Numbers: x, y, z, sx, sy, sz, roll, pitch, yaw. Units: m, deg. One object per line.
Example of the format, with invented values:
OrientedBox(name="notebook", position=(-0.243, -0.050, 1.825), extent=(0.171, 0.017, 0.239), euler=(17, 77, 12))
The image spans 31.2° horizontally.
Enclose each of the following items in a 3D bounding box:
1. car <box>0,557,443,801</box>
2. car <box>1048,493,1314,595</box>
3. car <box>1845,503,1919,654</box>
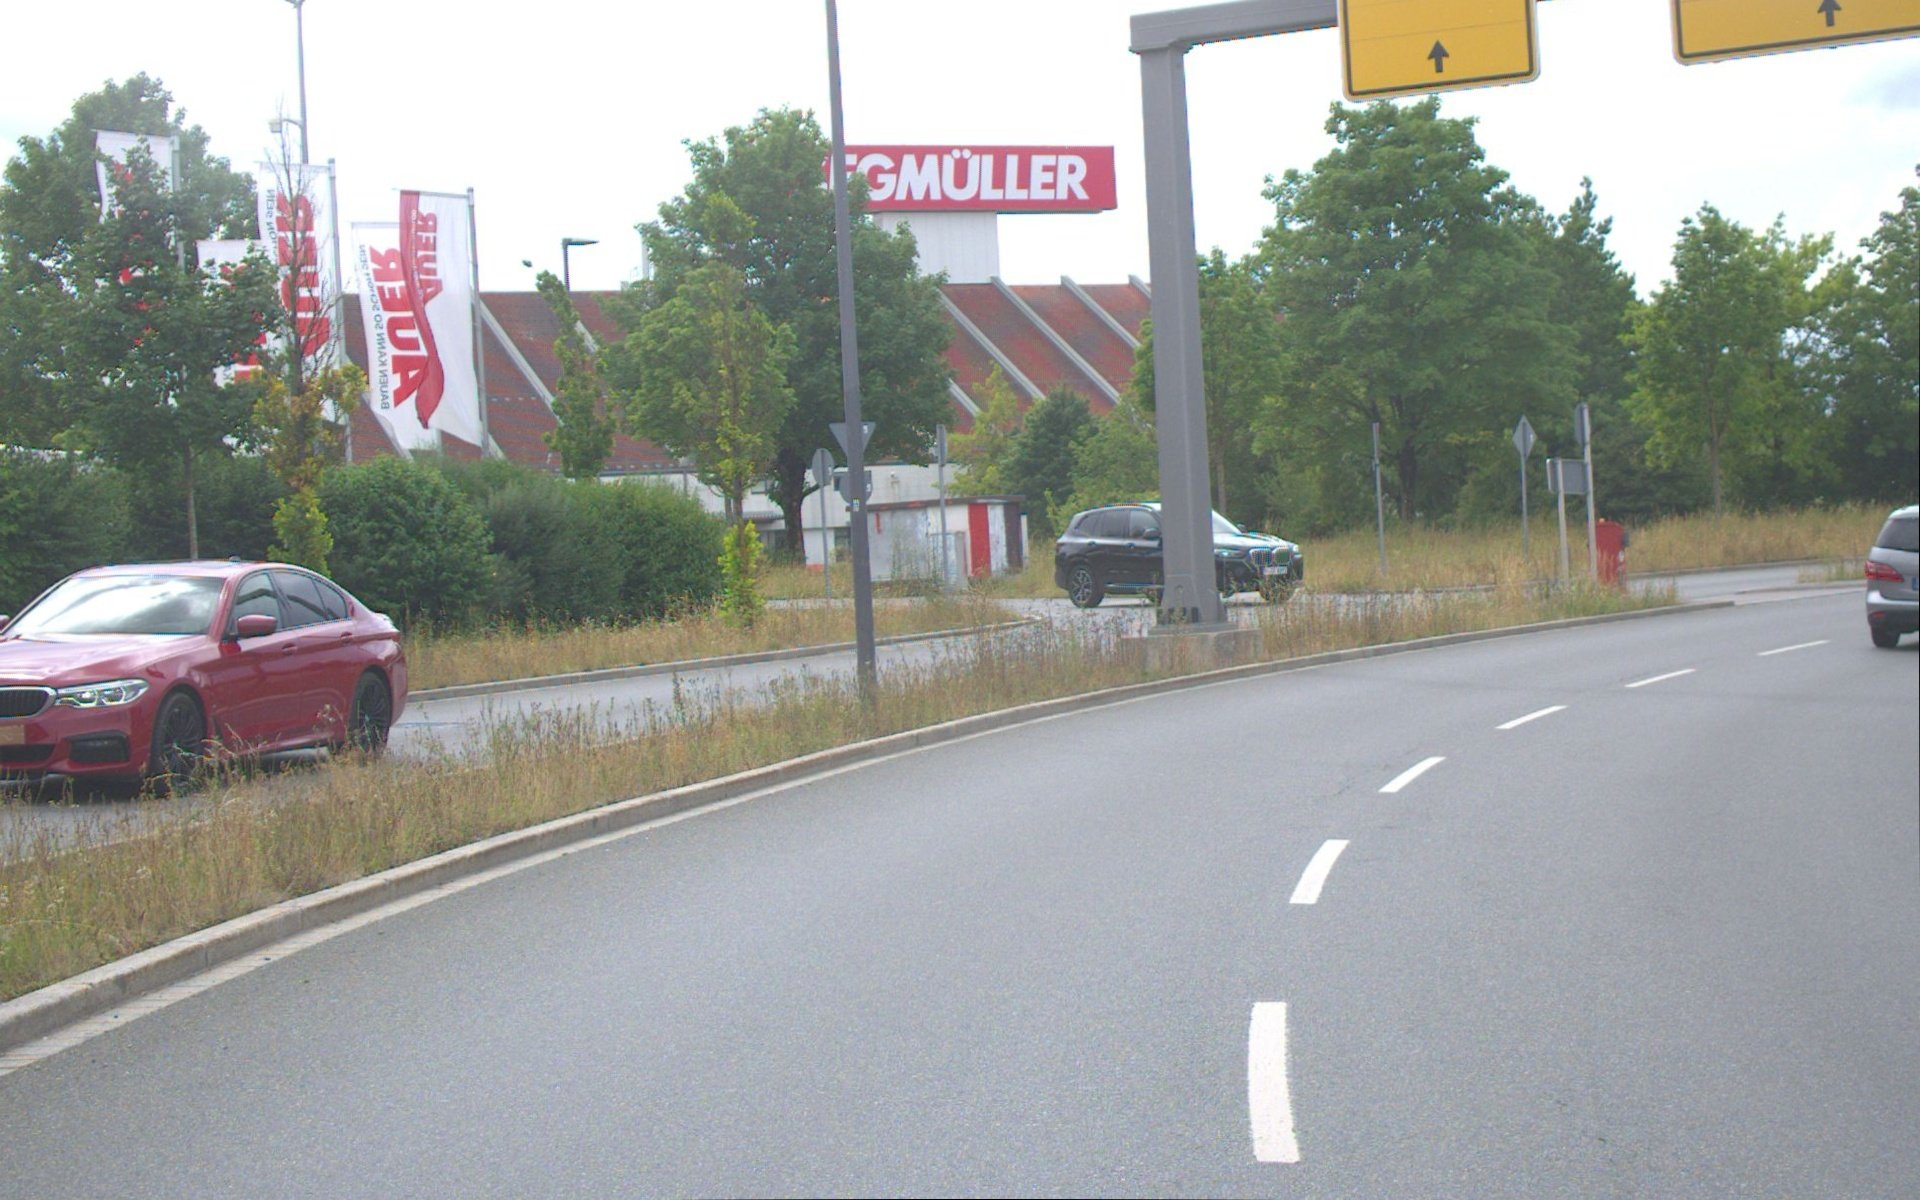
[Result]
OrientedBox(name="car", position=(-5.320, 0.442, 23.331), extent=(1.792, 1.442, 4.968), euler=(1, 1, 14))
OrientedBox(name="car", position=(3.511, -0.883, 55.323), extent=(1.868, 1.544, 4.254), euler=(-3, 2, -38))
OrientedBox(name="car", position=(11.281, -0.273, 38.539), extent=(1.770, 1.611, 3.916), euler=(-1, 0, 27))
